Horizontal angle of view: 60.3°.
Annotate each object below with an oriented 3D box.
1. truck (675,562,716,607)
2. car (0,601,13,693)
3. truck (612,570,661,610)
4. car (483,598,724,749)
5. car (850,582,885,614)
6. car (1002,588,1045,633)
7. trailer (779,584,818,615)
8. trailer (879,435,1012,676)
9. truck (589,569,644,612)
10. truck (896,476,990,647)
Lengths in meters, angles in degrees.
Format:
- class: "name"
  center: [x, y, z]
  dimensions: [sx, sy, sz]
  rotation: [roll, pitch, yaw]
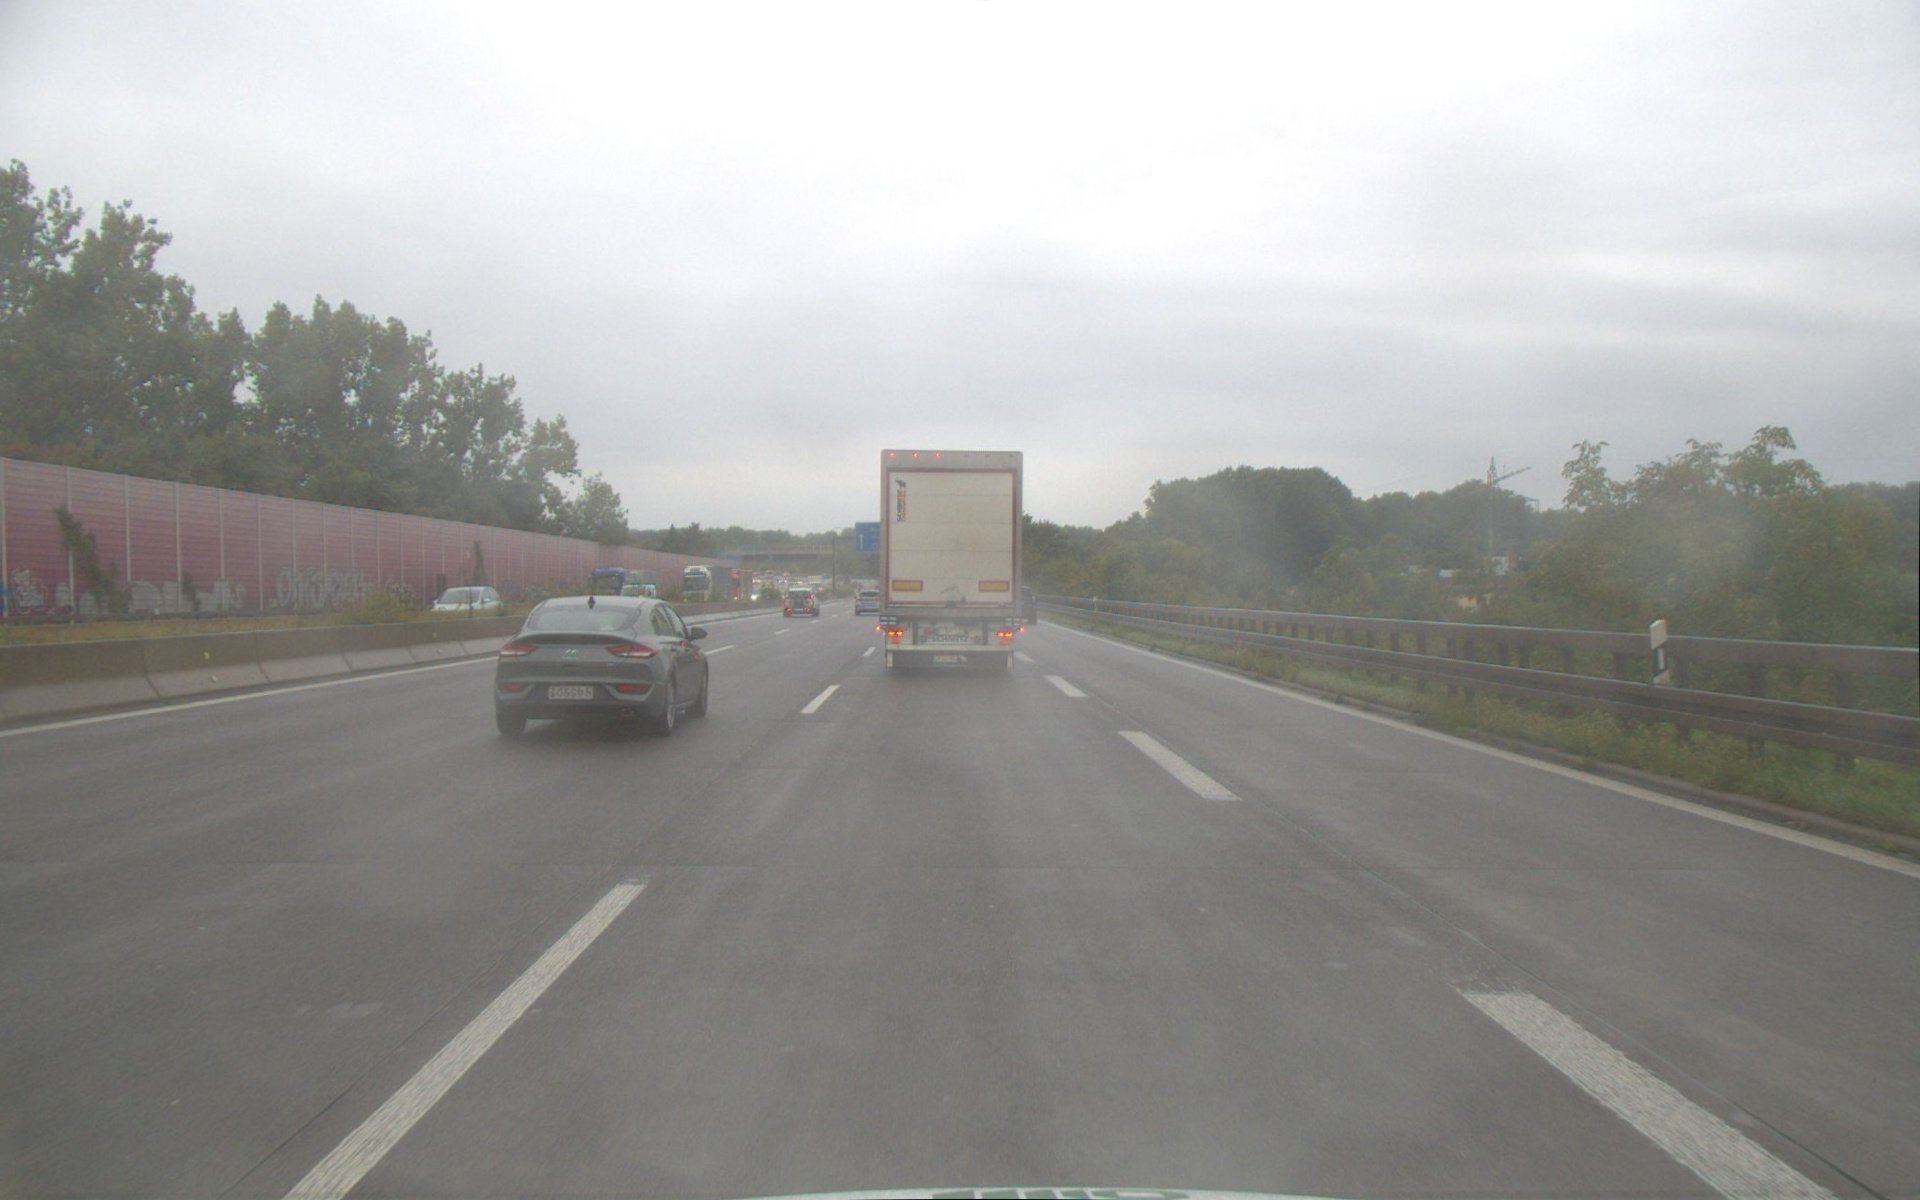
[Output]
- class: "truck"
  center: [-25.023, -1.463, 156.854]
  dimensions: [2.984, 4.098, 6.049]
  rotation: [1, 0, -2]
- class: "car"
  center: [-19.547, 0.921, 30.192]
  dimensions: [1.953, 1.769, 4.466]
  rotation: [0, 0, 0]
- class: "truck"
  center: [-28.913, -0.913, 148.107]
  dimensions: [2.912, 3.409, 8.697]
  rotation: [1, 0, -2]
- class: "car"
  center: [-3.777, 0.704, 18.352]
  dimensions: [1.690, 1.427, 4.828]
  rotation: [0, 0, -1]
- class: "car"
  center: [-5.380, -0.128, 96.833]
  dimensions: [1.855, 1.753, 3.999]
  rotation: [1, 0, -1]
- class: "car"
  center: [2.918, 0.469, 76.554]
  dimensions: [1.858, 1.983, 4.000]
  rotation: [1, 0, 0]
- class: "trailer"
  center: [-8.889, -0.042, 91.527]
  dimensions: [1.778, 1.653, 4.567]
  rotation: [0, 1, -1]
- class: "trailer"
  center: [-0.361, -0.892, 36.649]
  dimensions: [2.295, 4.230, 14.825]
  rotation: [1, 1, -1]
- class: "truck"
  center: [-28.652, -0.834, 138.562]
  dimensions: [2.658, 3.409, 10.429]
  rotation: [1, 0, -2]
- class: "truck"
  center: [-0.466, -1.015, 44.544]
  dimensions: [2.295, 4.230, 6.346]
  rotation: [1, 1, -1]
